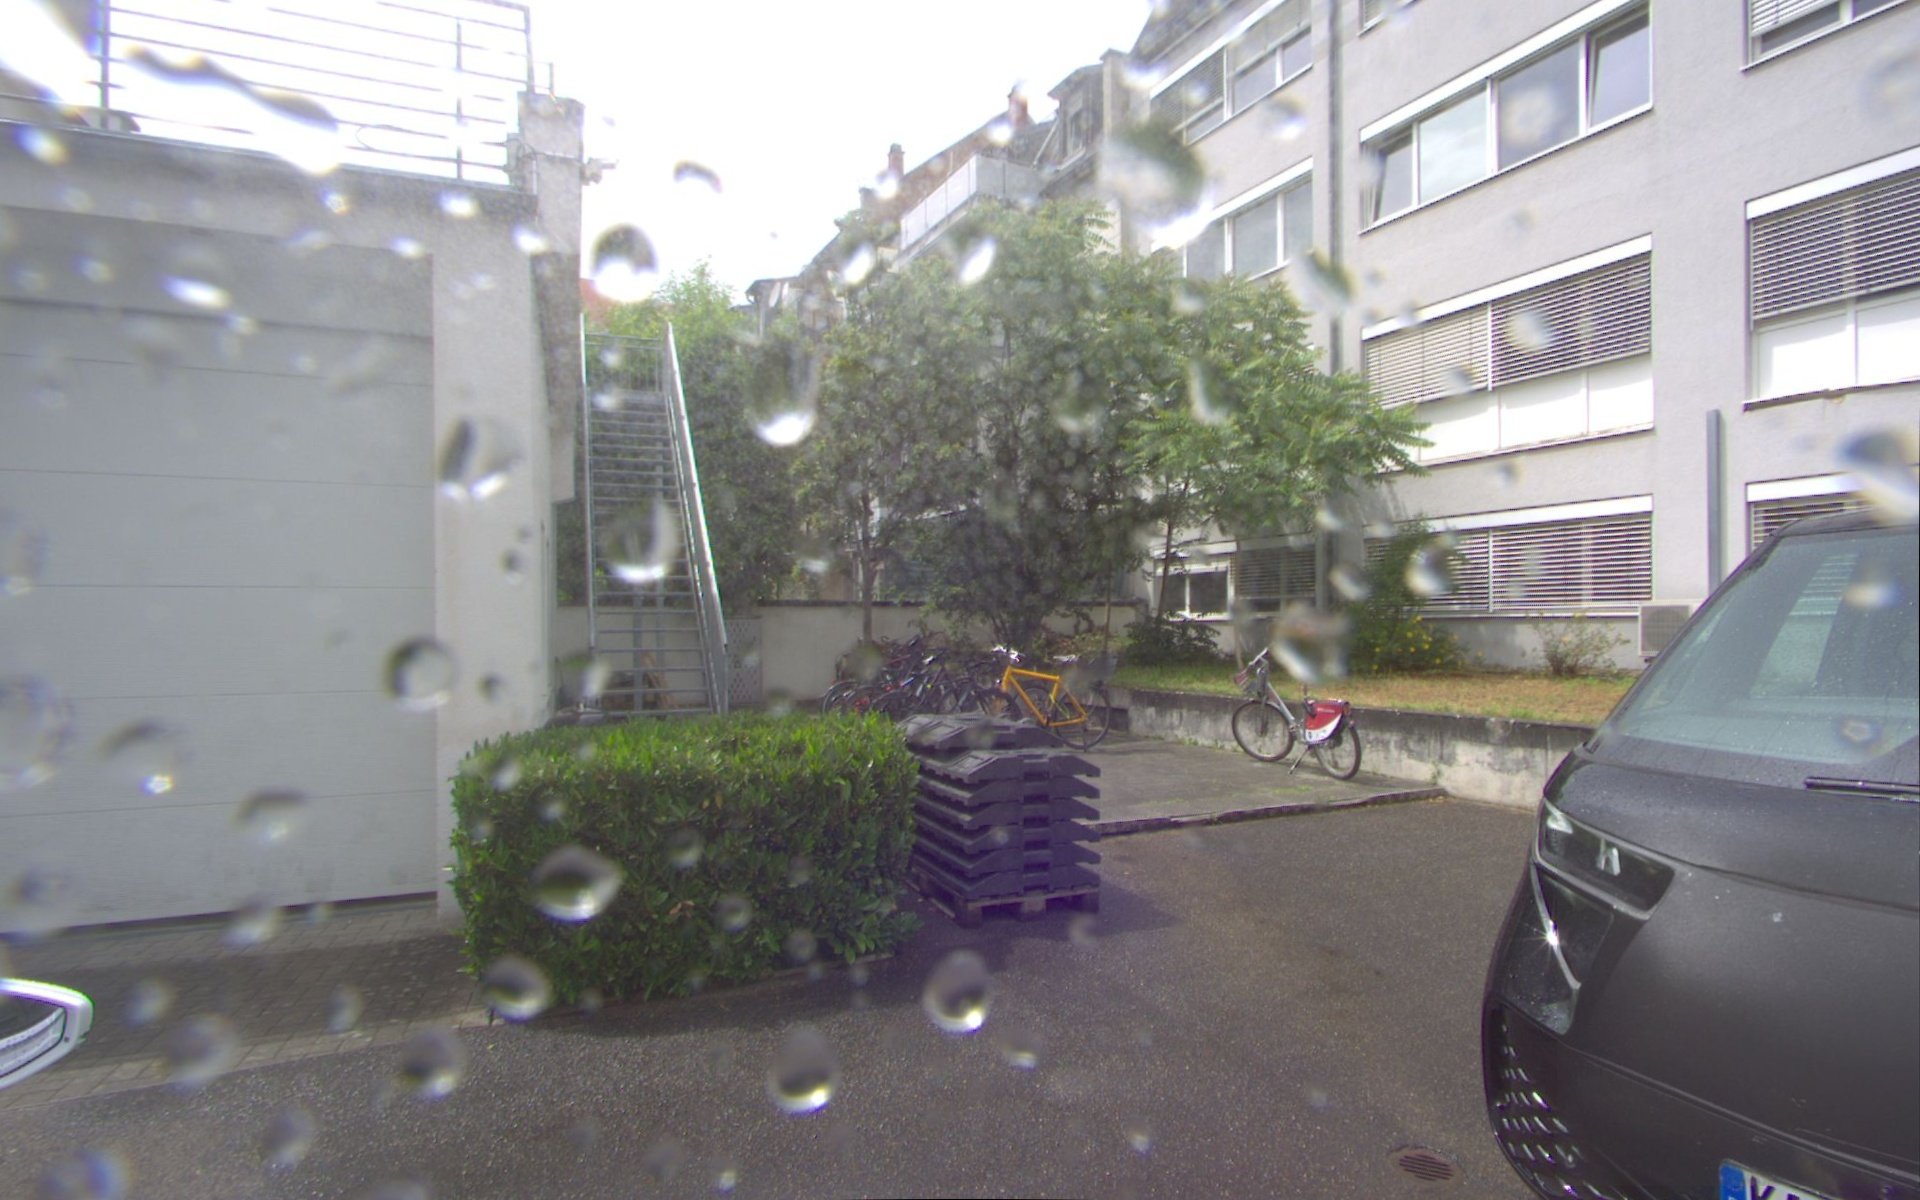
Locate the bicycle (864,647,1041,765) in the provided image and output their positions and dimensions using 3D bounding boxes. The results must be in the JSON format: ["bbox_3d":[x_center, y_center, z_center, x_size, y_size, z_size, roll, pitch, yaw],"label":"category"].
[{"bbox_3d":[-0.068,1.049,10.193,1.766,1.118,0.404,0,0,-20],"label":"bicycle"}]

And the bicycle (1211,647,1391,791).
[{"bbox_3d":[3.062,1.029,9.183,0.439,1.118,1.790,-3,0,-24],"label":"bicycle"}]

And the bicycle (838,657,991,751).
[{"bbox_3d":[-0.496,1.159,11.394,1.770,0.980,0.328,1,0,-28],"label":"bicycle"}]

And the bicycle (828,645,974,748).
[{"bbox_3d":[-0.673,1.100,11.708,1.729,1.118,0.331,0,0,-28],"label":"bicycle"}]

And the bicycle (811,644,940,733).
[{"bbox_3d":[-1.109,1.156,13.395,1.729,1.118,0.340,0,0,-28],"label":"bicycle"}]

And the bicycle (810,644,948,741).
[{"bbox_3d":[-0.990,1.126,12.490,1.729,1.118,0.344,0,0,-28],"label":"bicycle"}]

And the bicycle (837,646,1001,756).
[{"bbox_3d":[-0.435,1.073,10.899,1.766,1.118,0.354,0,0,-20],"label":"bicycle"}]

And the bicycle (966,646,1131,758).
[{"bbox_3d":[0.956,1.063,10.708,1.766,1.118,0.366,0,0,-20],"label":"bicycle"}]

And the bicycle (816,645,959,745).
[{"bbox_3d":[-0.855,1.112,12.026,1.729,1.118,0.341,0,0,-28],"label":"bicycle"}]

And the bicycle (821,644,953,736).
[{"bbox_3d":[-0.936,1.145,13.076,1.729,1.118,0.353,0,0,-28],"label":"bicycle"}]

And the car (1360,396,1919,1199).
[{"bbox_3d":[3.489,0.613,2.699,4.678,1.889,1.961,-1,-1,-29],"label":"car"}]
